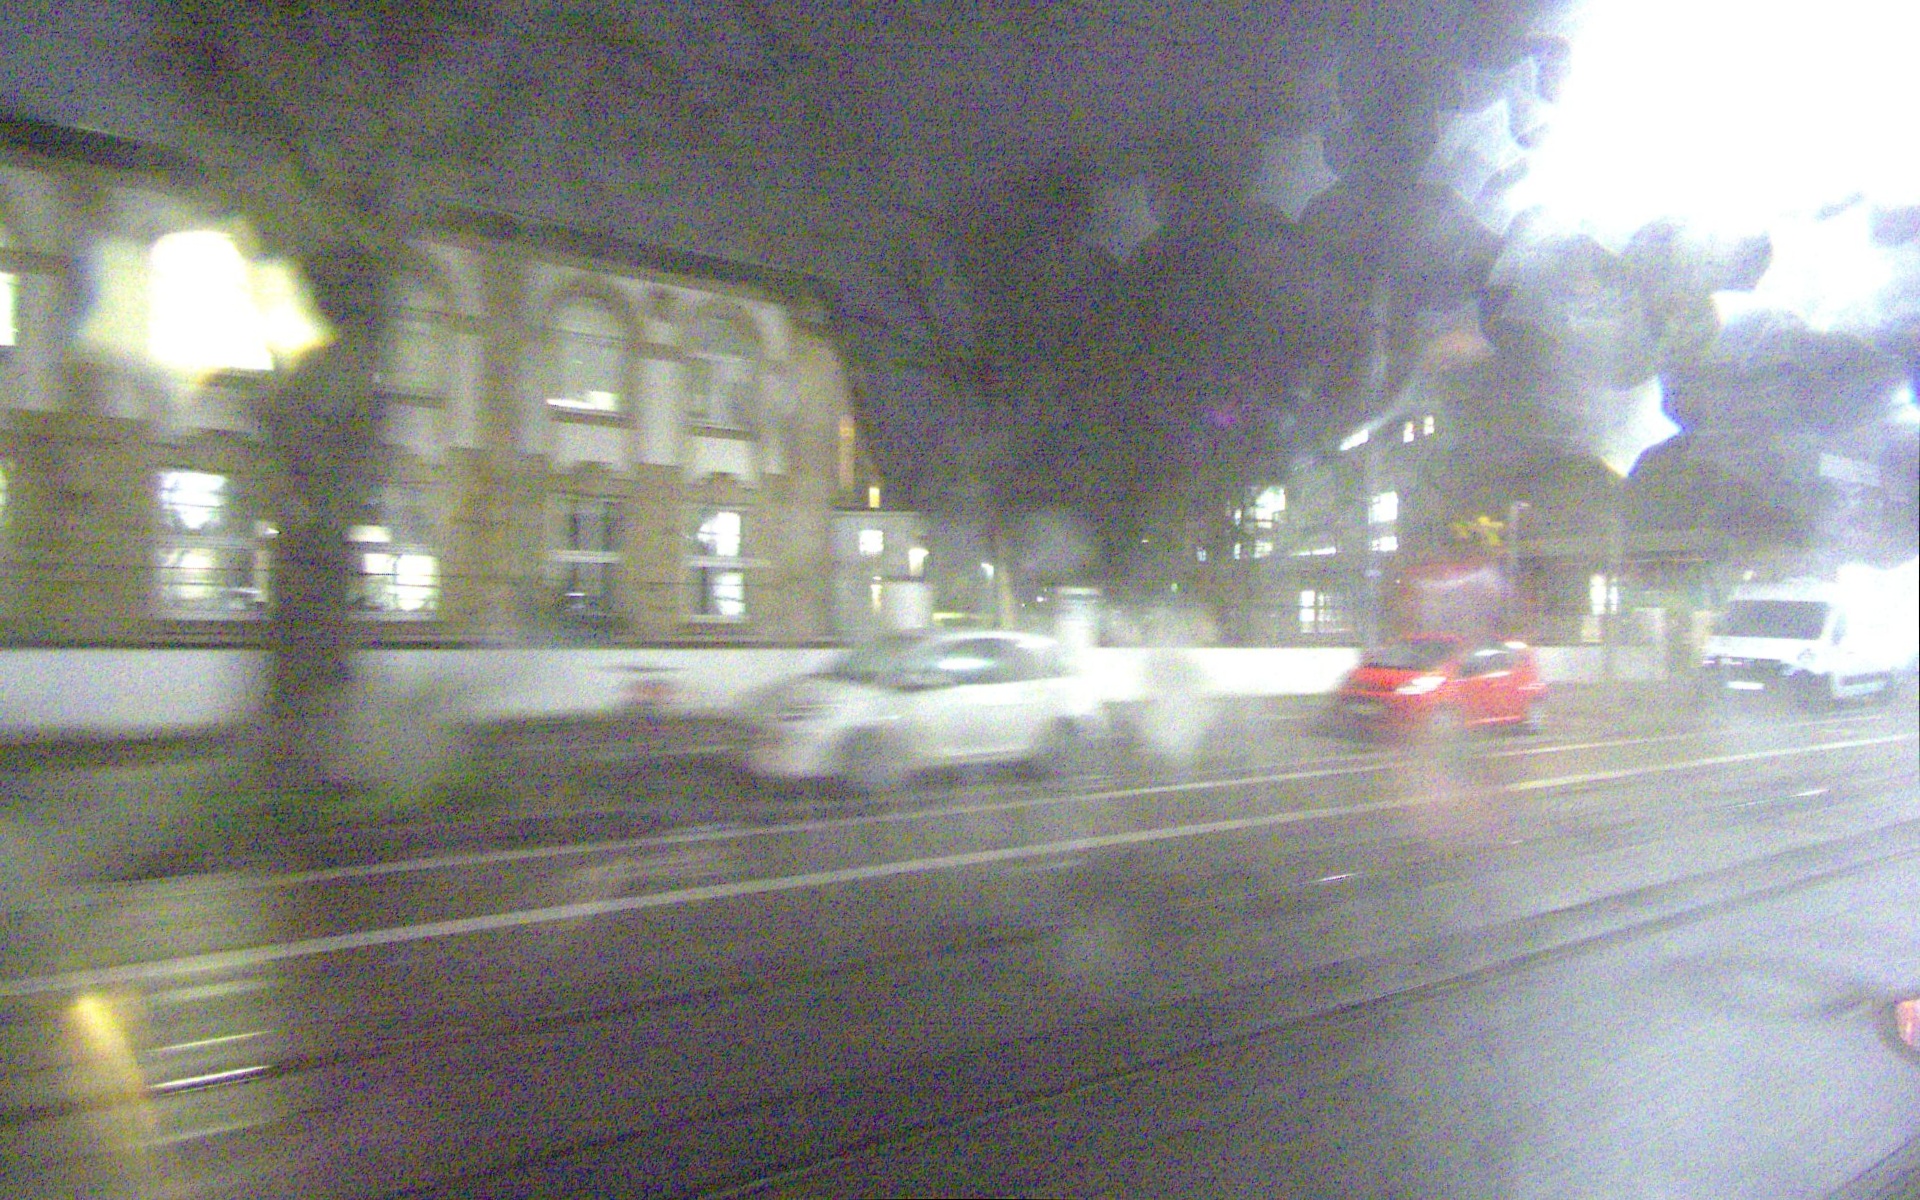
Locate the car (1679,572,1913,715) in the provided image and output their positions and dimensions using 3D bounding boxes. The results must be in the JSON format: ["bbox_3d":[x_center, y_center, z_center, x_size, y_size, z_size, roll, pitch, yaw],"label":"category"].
[{"bbox_3d":[16.939,0.801,20.263,5.547,2.532,2.013,1,1,-33],"label":"car"}]

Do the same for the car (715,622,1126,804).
[{"bbox_3d":[-0.329,1.007,9.990,3.766,1.447,1.601,2,0,-32],"label":"car"}]

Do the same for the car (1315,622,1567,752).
[{"bbox_3d":[6.918,1.132,14.385,3.579,1.527,1.631,-1,1,-33],"label":"car"}]
